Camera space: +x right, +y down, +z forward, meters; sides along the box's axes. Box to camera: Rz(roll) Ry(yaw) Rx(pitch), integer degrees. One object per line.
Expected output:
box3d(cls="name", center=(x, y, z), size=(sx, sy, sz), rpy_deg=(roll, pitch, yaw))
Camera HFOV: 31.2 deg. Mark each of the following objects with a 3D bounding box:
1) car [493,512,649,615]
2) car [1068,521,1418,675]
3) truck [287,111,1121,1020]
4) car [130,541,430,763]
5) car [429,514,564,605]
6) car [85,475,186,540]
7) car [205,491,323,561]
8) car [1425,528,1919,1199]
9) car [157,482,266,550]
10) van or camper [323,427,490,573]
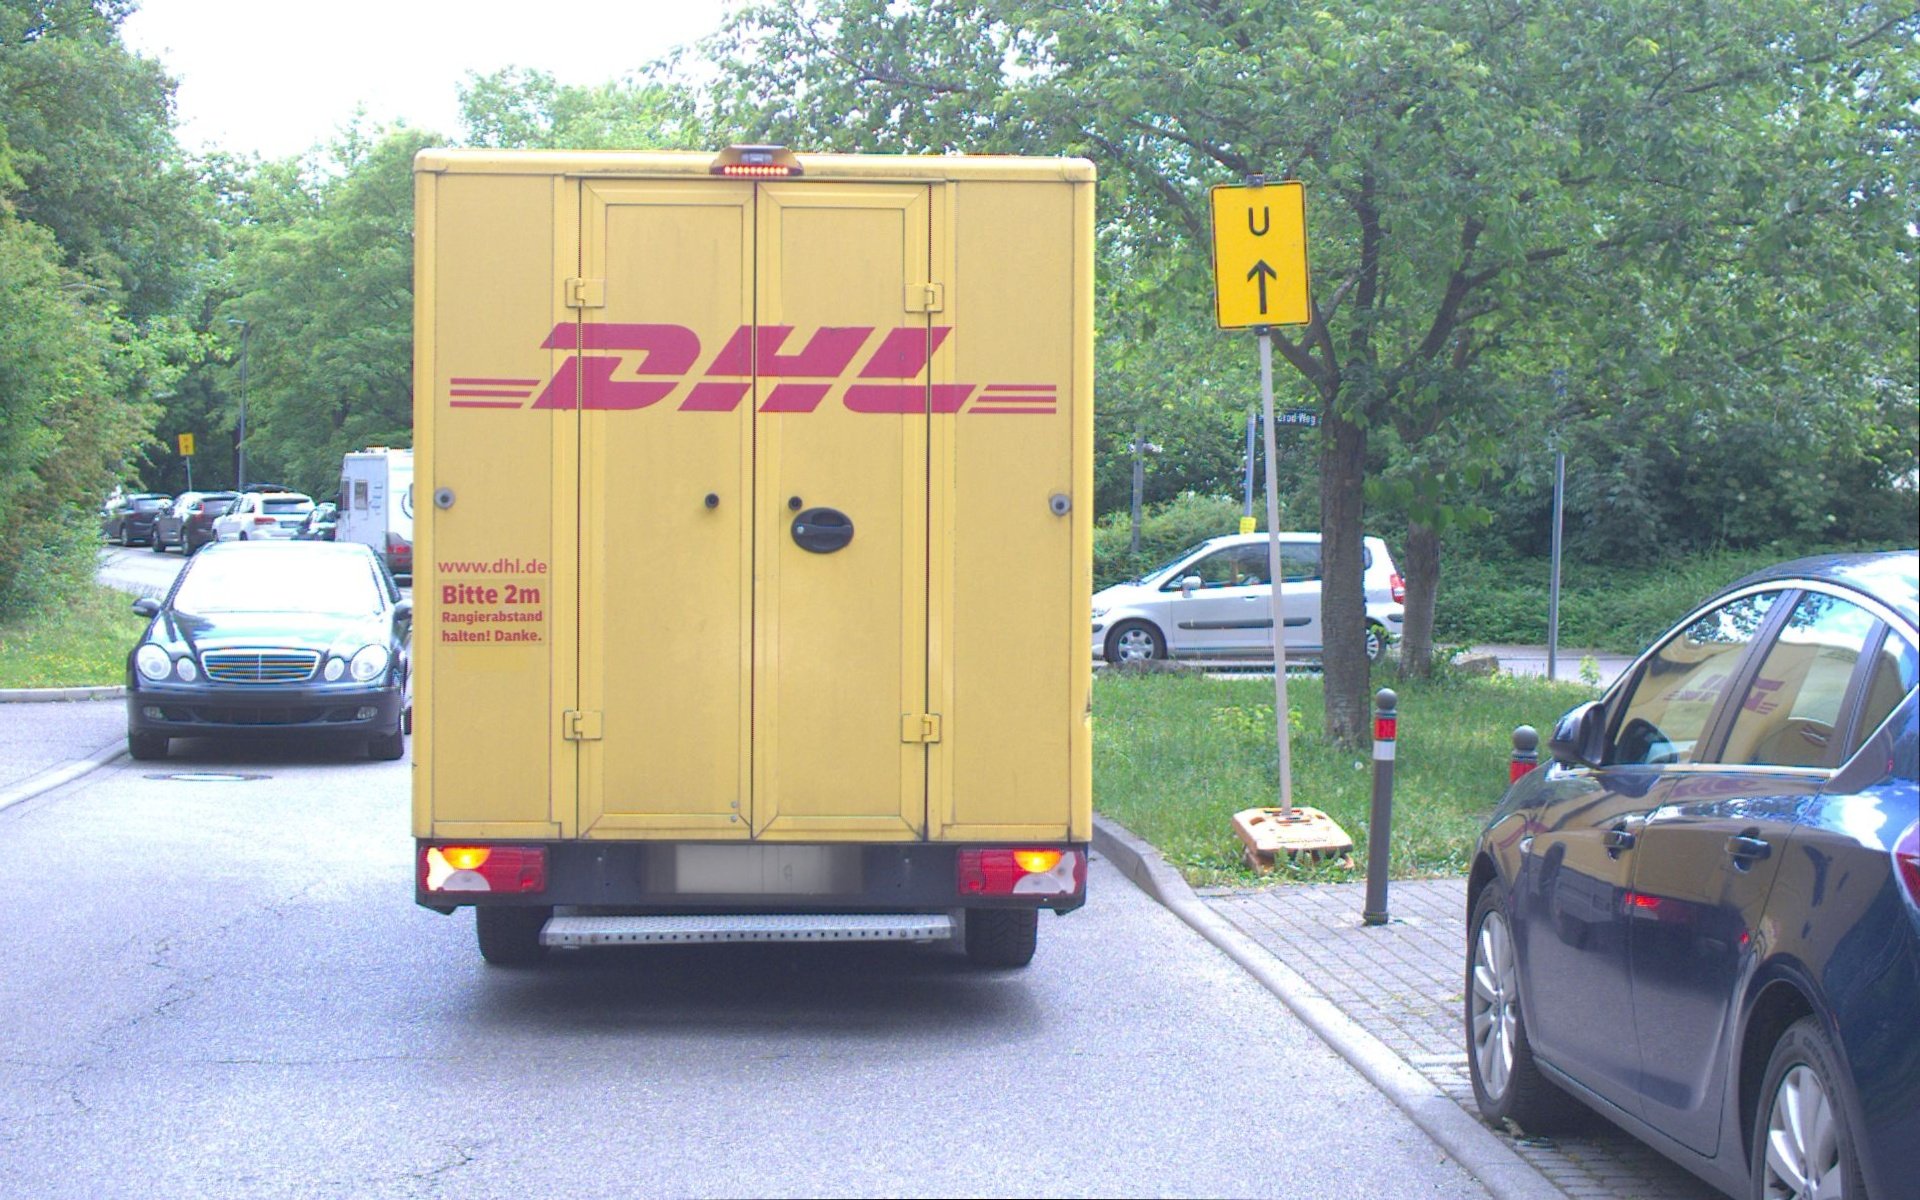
box3d(cls="car", center=(-6.674, -0.647, 58.674), size=(1.843, 1.524, 4.002), rpy_deg=(2, 3, -18))
box3d(cls="car", center=(3.072, -0.038, 37.810), size=(3.630, 1.481, 1.691), rpy_deg=(2, 2, -1))
box3d(cls="truck", center=(-0.988, -0.167, 13.675), size=(2.466, 2.693, 6.826), rpy_deg=(0, 1, -4))
box3d(cls="car", center=(-4.708, 0.309, 24.245), size=(1.674, 1.350, 3.970), rpy_deg=(2, 1, -6))
box3d(cls="car", center=(-8.899, -0.794, 65.742), size=(1.843, 1.524, 4.002), rpy_deg=(2, 3, -18))
box3d(cls="car", center=(-23.021, -2.591, 95.896), size=(1.843, 1.608, 4.001), rpy_deg=(1, 3, -26))
box3d(cls="car", center=(-17.193, -1.838, 84.827), size=(1.843, 1.524, 4.001), rpy_deg=(1, 3, -26))
box3d(cls="car", center=(2.221, 0.623, 7.144), size=(1.728, 1.428, 3.969), rpy_deg=(2, 0, -3))
box3d(cls="car", center=(-19.692, -2.215, 90.295), size=(1.843, 1.608, 4.001), rpy_deg=(1, 3, -26))
box3d(cls="van or camper", center=(-11.722, -2.158, 72.531), size=(2.323, 2.862, 5.262), rpy_deg=(1, 3, -21))
